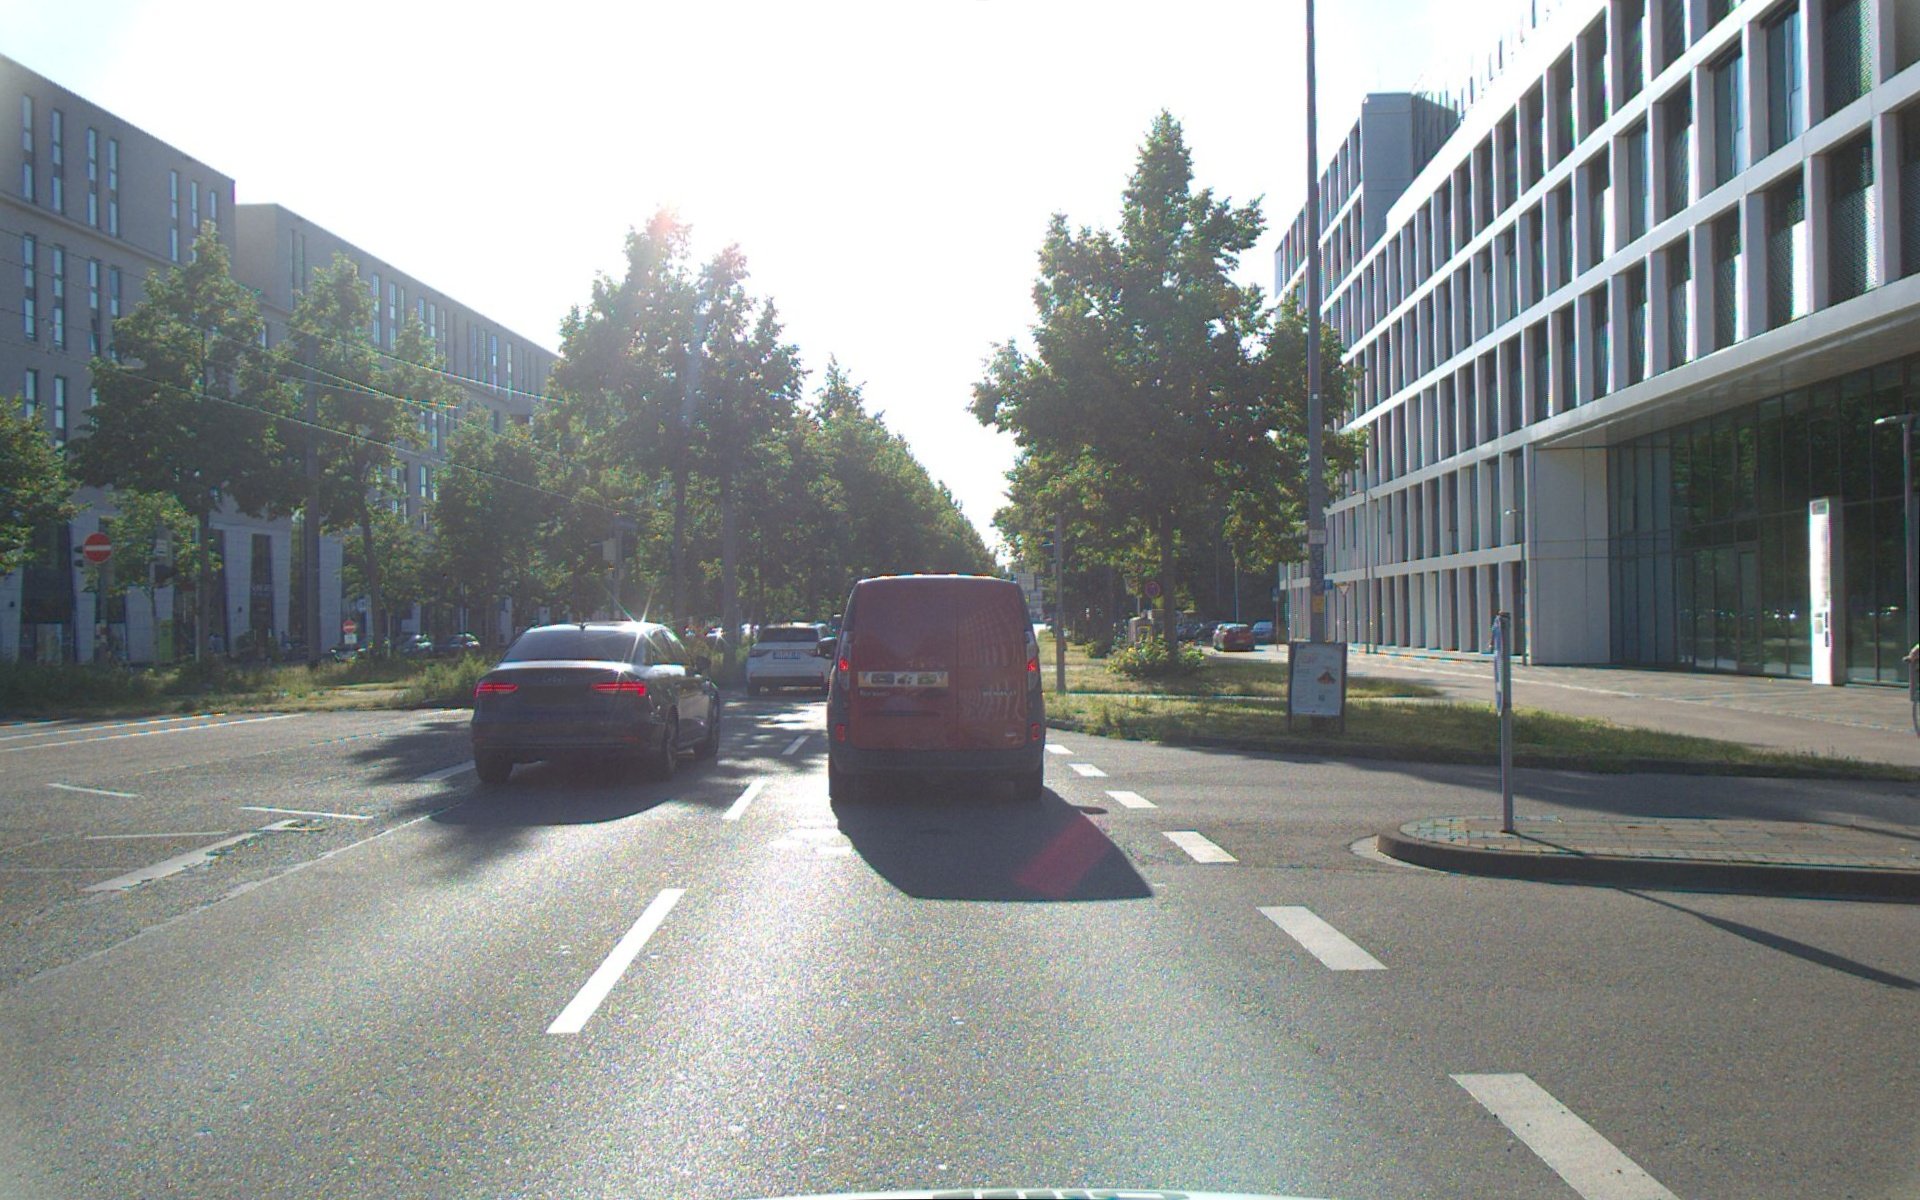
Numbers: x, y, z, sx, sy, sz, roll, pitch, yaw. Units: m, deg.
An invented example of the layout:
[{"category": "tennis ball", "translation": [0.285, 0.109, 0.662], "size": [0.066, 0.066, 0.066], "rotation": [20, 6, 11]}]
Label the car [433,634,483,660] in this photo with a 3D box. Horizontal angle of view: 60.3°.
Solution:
[{"category": "car", "translation": [-28.134, 2.634, 92.770], "size": [1.547, 1.366, 3.713], "rotation": [-1, -1, 2]}]

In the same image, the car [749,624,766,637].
[{"category": "car", "translation": [-27.866, 4.184, 227.359], "size": [1.696, 1.803, 4.001], "rotation": [-1, -1, 2]}]

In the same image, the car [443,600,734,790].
[{"category": "car", "translation": [-3.373, 0.808, 15.813], "size": [1.771, 1.554, 4.113], "rotation": [-1, -1, 1]}]

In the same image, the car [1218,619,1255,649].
[{"category": "car", "translation": [15.691, 1.902, 94.128], "size": [1.721, 1.640, 3.905], "rotation": [-1, -1, 4]}]

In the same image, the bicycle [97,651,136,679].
[{"category": "bicycle", "translation": [-34.858, 2.685, 68.353], "size": [0.517, 1.130, 1.639], "rotation": [0, -1, 10]}]

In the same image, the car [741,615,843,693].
[{"category": "car", "translation": [-3.370, 1.055, 33.837], "size": [1.771, 1.460, 4.111], "rotation": [-1, -1, -2]}]

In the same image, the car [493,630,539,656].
[{"category": "car", "translation": [-28.273, 2.734, 105.326], "size": [1.739, 1.555, 3.807], "rotation": [-1, -1, 2]}]

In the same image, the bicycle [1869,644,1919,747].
[{"category": "bicycle", "translation": [11.749, 1.143, 19.792], "size": [0.726, 1.194, 1.962], "rotation": [-1, -1, 3]}]

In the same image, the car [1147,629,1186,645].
[{"category": "car", "translation": [18.109, 3.231, 144.945], "size": [3.326, 1.382, 1.472], "rotation": [-1, -1, 10]}]

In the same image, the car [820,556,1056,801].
[{"category": "car", "translation": [-0.249, 0.612, 14.589], "size": [1.772, 1.826, 4.110], "rotation": [-1, -1, -3]}]

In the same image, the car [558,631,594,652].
[{"category": "car", "translation": [-27.337, 2.950, 117.924], "size": [1.547, 1.366, 3.713], "rotation": [-1, -1, 2]}]

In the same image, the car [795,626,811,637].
[{"category": "car", "translation": [-22.266, 4.473, 234.716], "size": [1.719, 1.601, 4.001], "rotation": [-1, -1, 2]}]

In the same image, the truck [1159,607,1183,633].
[{"category": "truck", "translation": [21.022, 1.995, 164.899], "size": [1.793, 2.545, 5.934], "rotation": [-1, -1, 2]}]

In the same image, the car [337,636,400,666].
[{"category": "car", "translation": [-28.469, 2.439, 79.724], "size": [1.547, 1.366, 3.713], "rotation": [-1, -1, 2]}]

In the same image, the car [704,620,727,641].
[{"category": "car", "translation": [-24.736, 3.069, 167.206], "size": [1.693, 2.049, 4.000], "rotation": [-1, 0, 1]}]

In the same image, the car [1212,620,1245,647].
[{"category": "car", "translation": [16.085, 1.976, 99.294], "size": [1.781, 1.559, 3.439], "rotation": [-1, -1, 6]}]

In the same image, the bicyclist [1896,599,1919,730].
[{"category": "bicyclist", "translation": [11.749, 0.760, 19.652], "size": [0.755, 1.558, 0.850], "rotation": [-1, -1, 3]}]

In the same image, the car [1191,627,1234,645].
[{"category": "car", "translation": [20.295, 2.901, 132.943], "size": [3.326, 1.382, 1.472], "rotation": [-1, -1, 10]}]

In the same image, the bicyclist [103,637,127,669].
[{"category": "bicyclist", "translation": [-34.876, 2.176, 68.244], "size": [0.566, 1.316, 0.705], "rotation": [0, -1, 11]}]

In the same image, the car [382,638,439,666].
[{"category": "car", "translation": [-28.488, 2.663, 85.843], "size": [1.547, 1.366, 3.713], "rotation": [-1, -1, 2]}]
